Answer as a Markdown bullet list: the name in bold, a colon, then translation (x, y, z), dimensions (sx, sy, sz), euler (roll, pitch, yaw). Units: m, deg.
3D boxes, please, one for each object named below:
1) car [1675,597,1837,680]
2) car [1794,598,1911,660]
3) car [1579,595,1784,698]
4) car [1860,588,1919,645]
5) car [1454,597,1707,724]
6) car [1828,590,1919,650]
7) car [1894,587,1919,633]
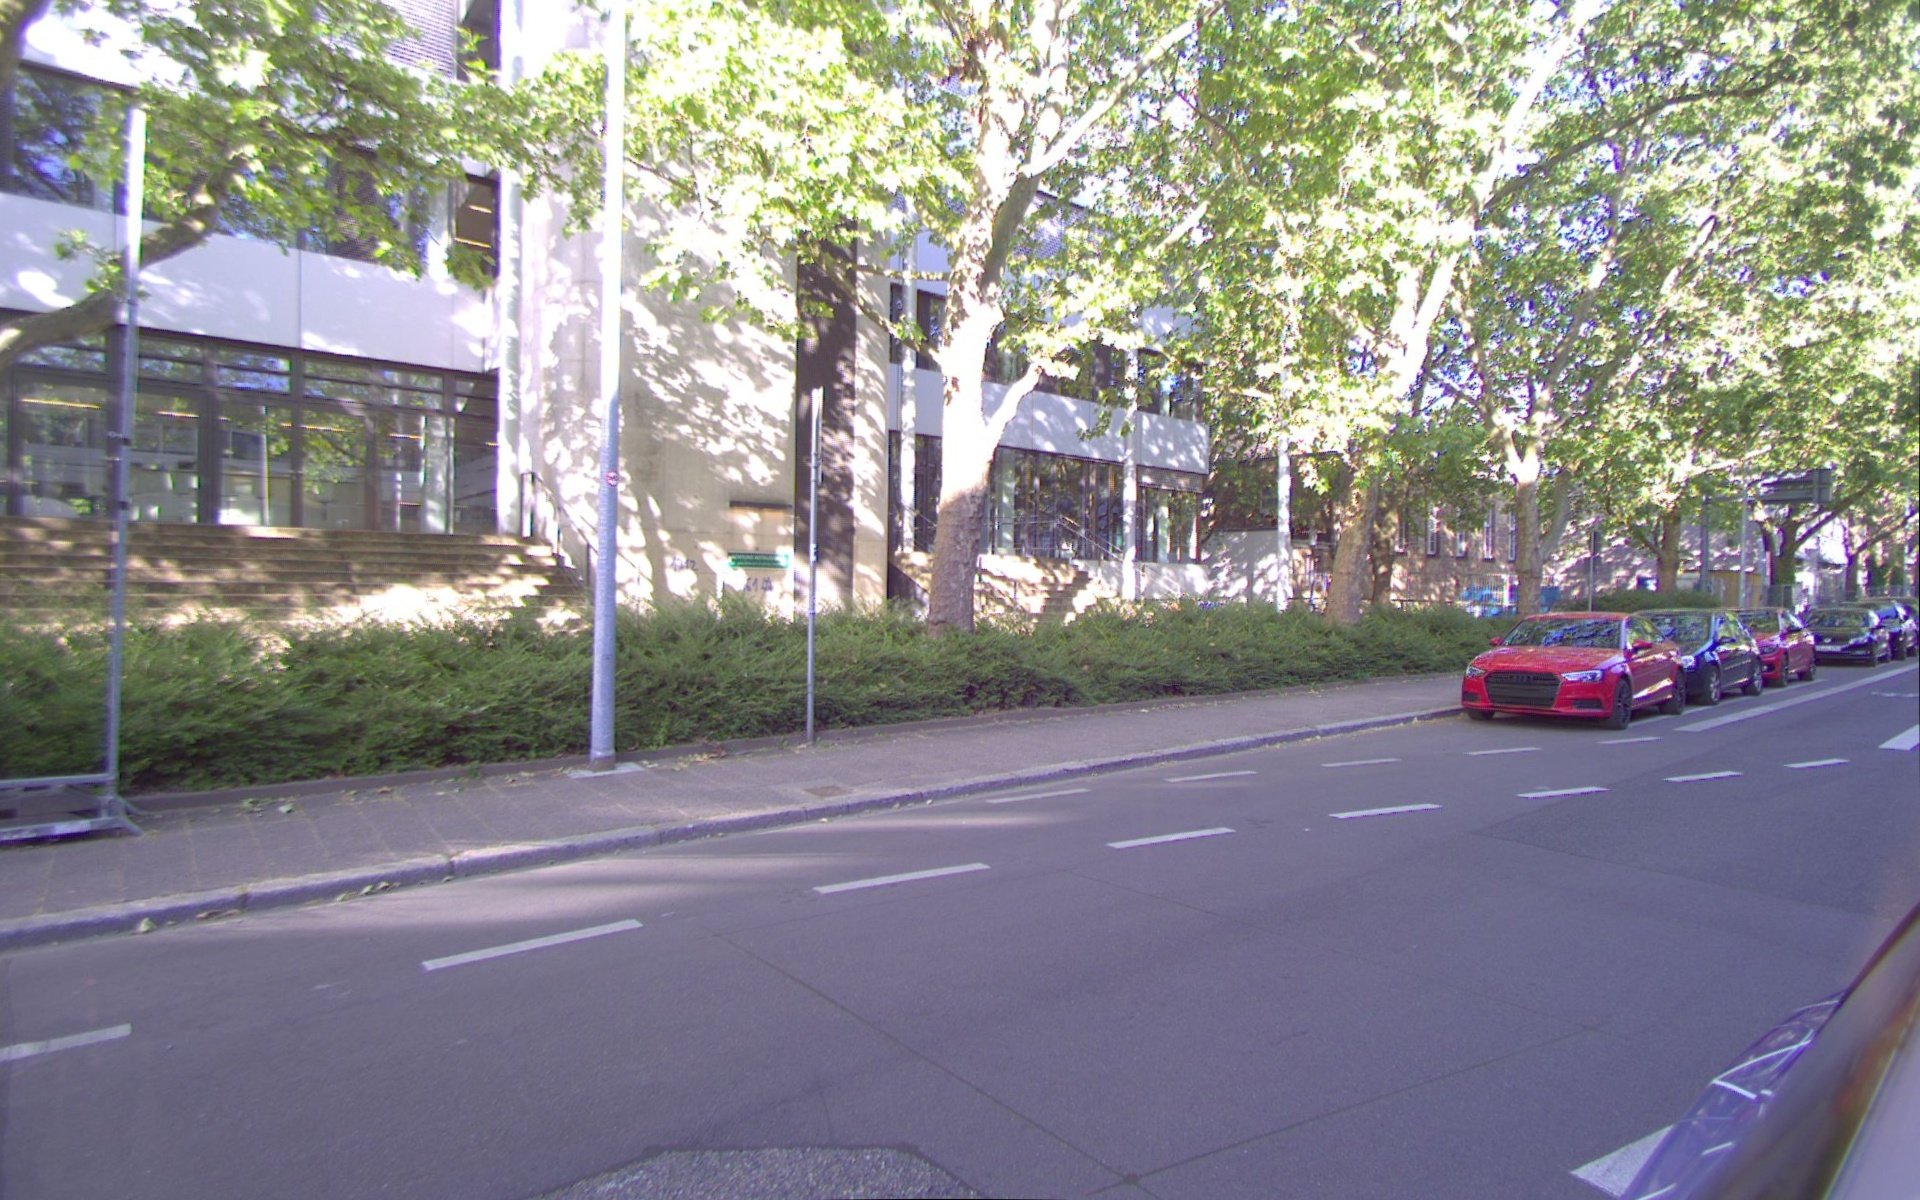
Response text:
- **car**: translation (15.726, 0.677, 19.927), dimensions (3.930, 1.456, 1.789), euler (0, 1, -41)
- **car**: translation (22.975, 0.685, 26.000), dimensions (3.930, 1.456, 1.744), euler (0, 1, -41)
- **car**: translation (11.888, 0.665, 16.595), dimensions (3.929, 1.475, 1.812), euler (0, 1, -40)
- **car**: translation (31.074, 0.486, 33.058), dimensions (4.188, 1.747, 1.997), euler (-1, 0, -41)
- **car**: translation (8.338, 0.685, 13.461), dimensions (4.101, 1.443, 1.773), euler (0, -1, -42)
- **car**: translation (26.639, 0.529, 29.198), dimensions (4.158, 1.601, 1.847), euler (0, 1, -41)
- **car**: translation (35.732, 0.367, 37.080), dimensions (4.004, 1.638, 1.797), euler (0, 1, -41)
